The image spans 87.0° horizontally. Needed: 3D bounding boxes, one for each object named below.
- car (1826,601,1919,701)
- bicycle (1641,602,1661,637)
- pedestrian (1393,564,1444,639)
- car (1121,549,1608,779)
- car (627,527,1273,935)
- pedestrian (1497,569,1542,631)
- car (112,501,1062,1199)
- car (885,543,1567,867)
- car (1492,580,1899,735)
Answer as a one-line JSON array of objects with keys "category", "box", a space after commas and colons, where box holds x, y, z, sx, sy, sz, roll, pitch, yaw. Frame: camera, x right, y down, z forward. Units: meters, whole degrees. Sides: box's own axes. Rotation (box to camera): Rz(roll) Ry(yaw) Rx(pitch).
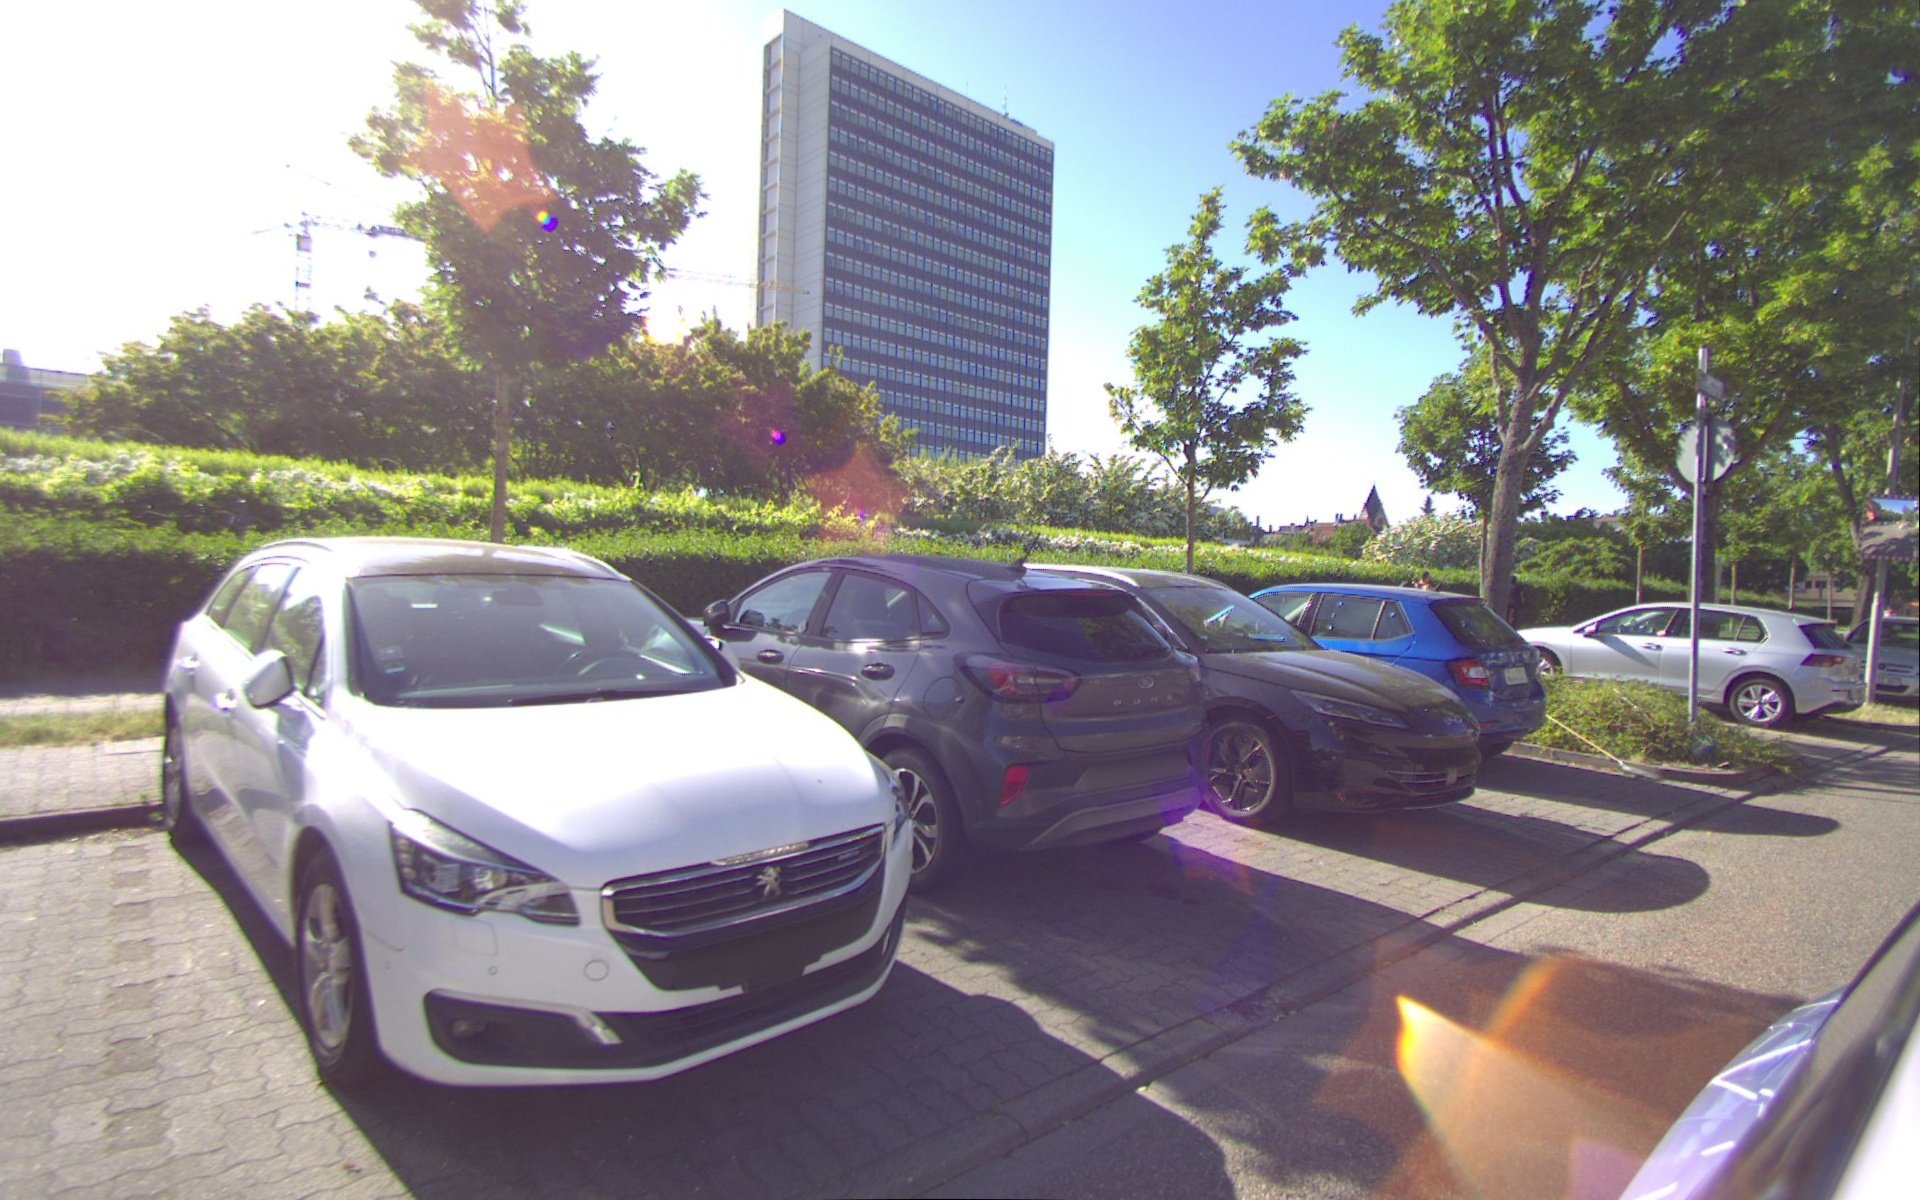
[{"category": "car", "box": [16.981, 0.864, 17.761, 4.540, 1.511, 1.815, 1, 4, -39]}, {"category": "bicycle", "box": [18.600, 0.514, 27.227, 0.345, 0.877, 1.391, 4, 2, 36]}, {"category": "pedestrian", "box": [9.870, 0.032, 21.785, 0.920, 1.561, 0.608, 1, 1, -38]}, {"category": "car", "box": [3.553, 0.405, 9.489, 1.713, 1.465, 3.818, 0, 5, -39]}, {"category": "car", "box": [-0.362, 0.414, 6.029, 1.720, 1.533, 3.885, 0, 4, -40]}, {"category": "pedestrian", "box": [14.872, -0.013, 26.894, 0.837, 1.607, 0.725, 1, 1, -40]}, {"category": "car", "box": [-1.996, 0.434, 4.295, 4.551, 1.533, 1.951, 6, 4, 43]}, {"category": "car", "box": [1.652, 0.450, 7.665, 2.120, 1.533, 4.561, 0, 4, -40]}, {"category": "car", "box": [9.791, 0.639, 13.821, 1.611, 1.446, 4.108, 1, 5, -34]}]
